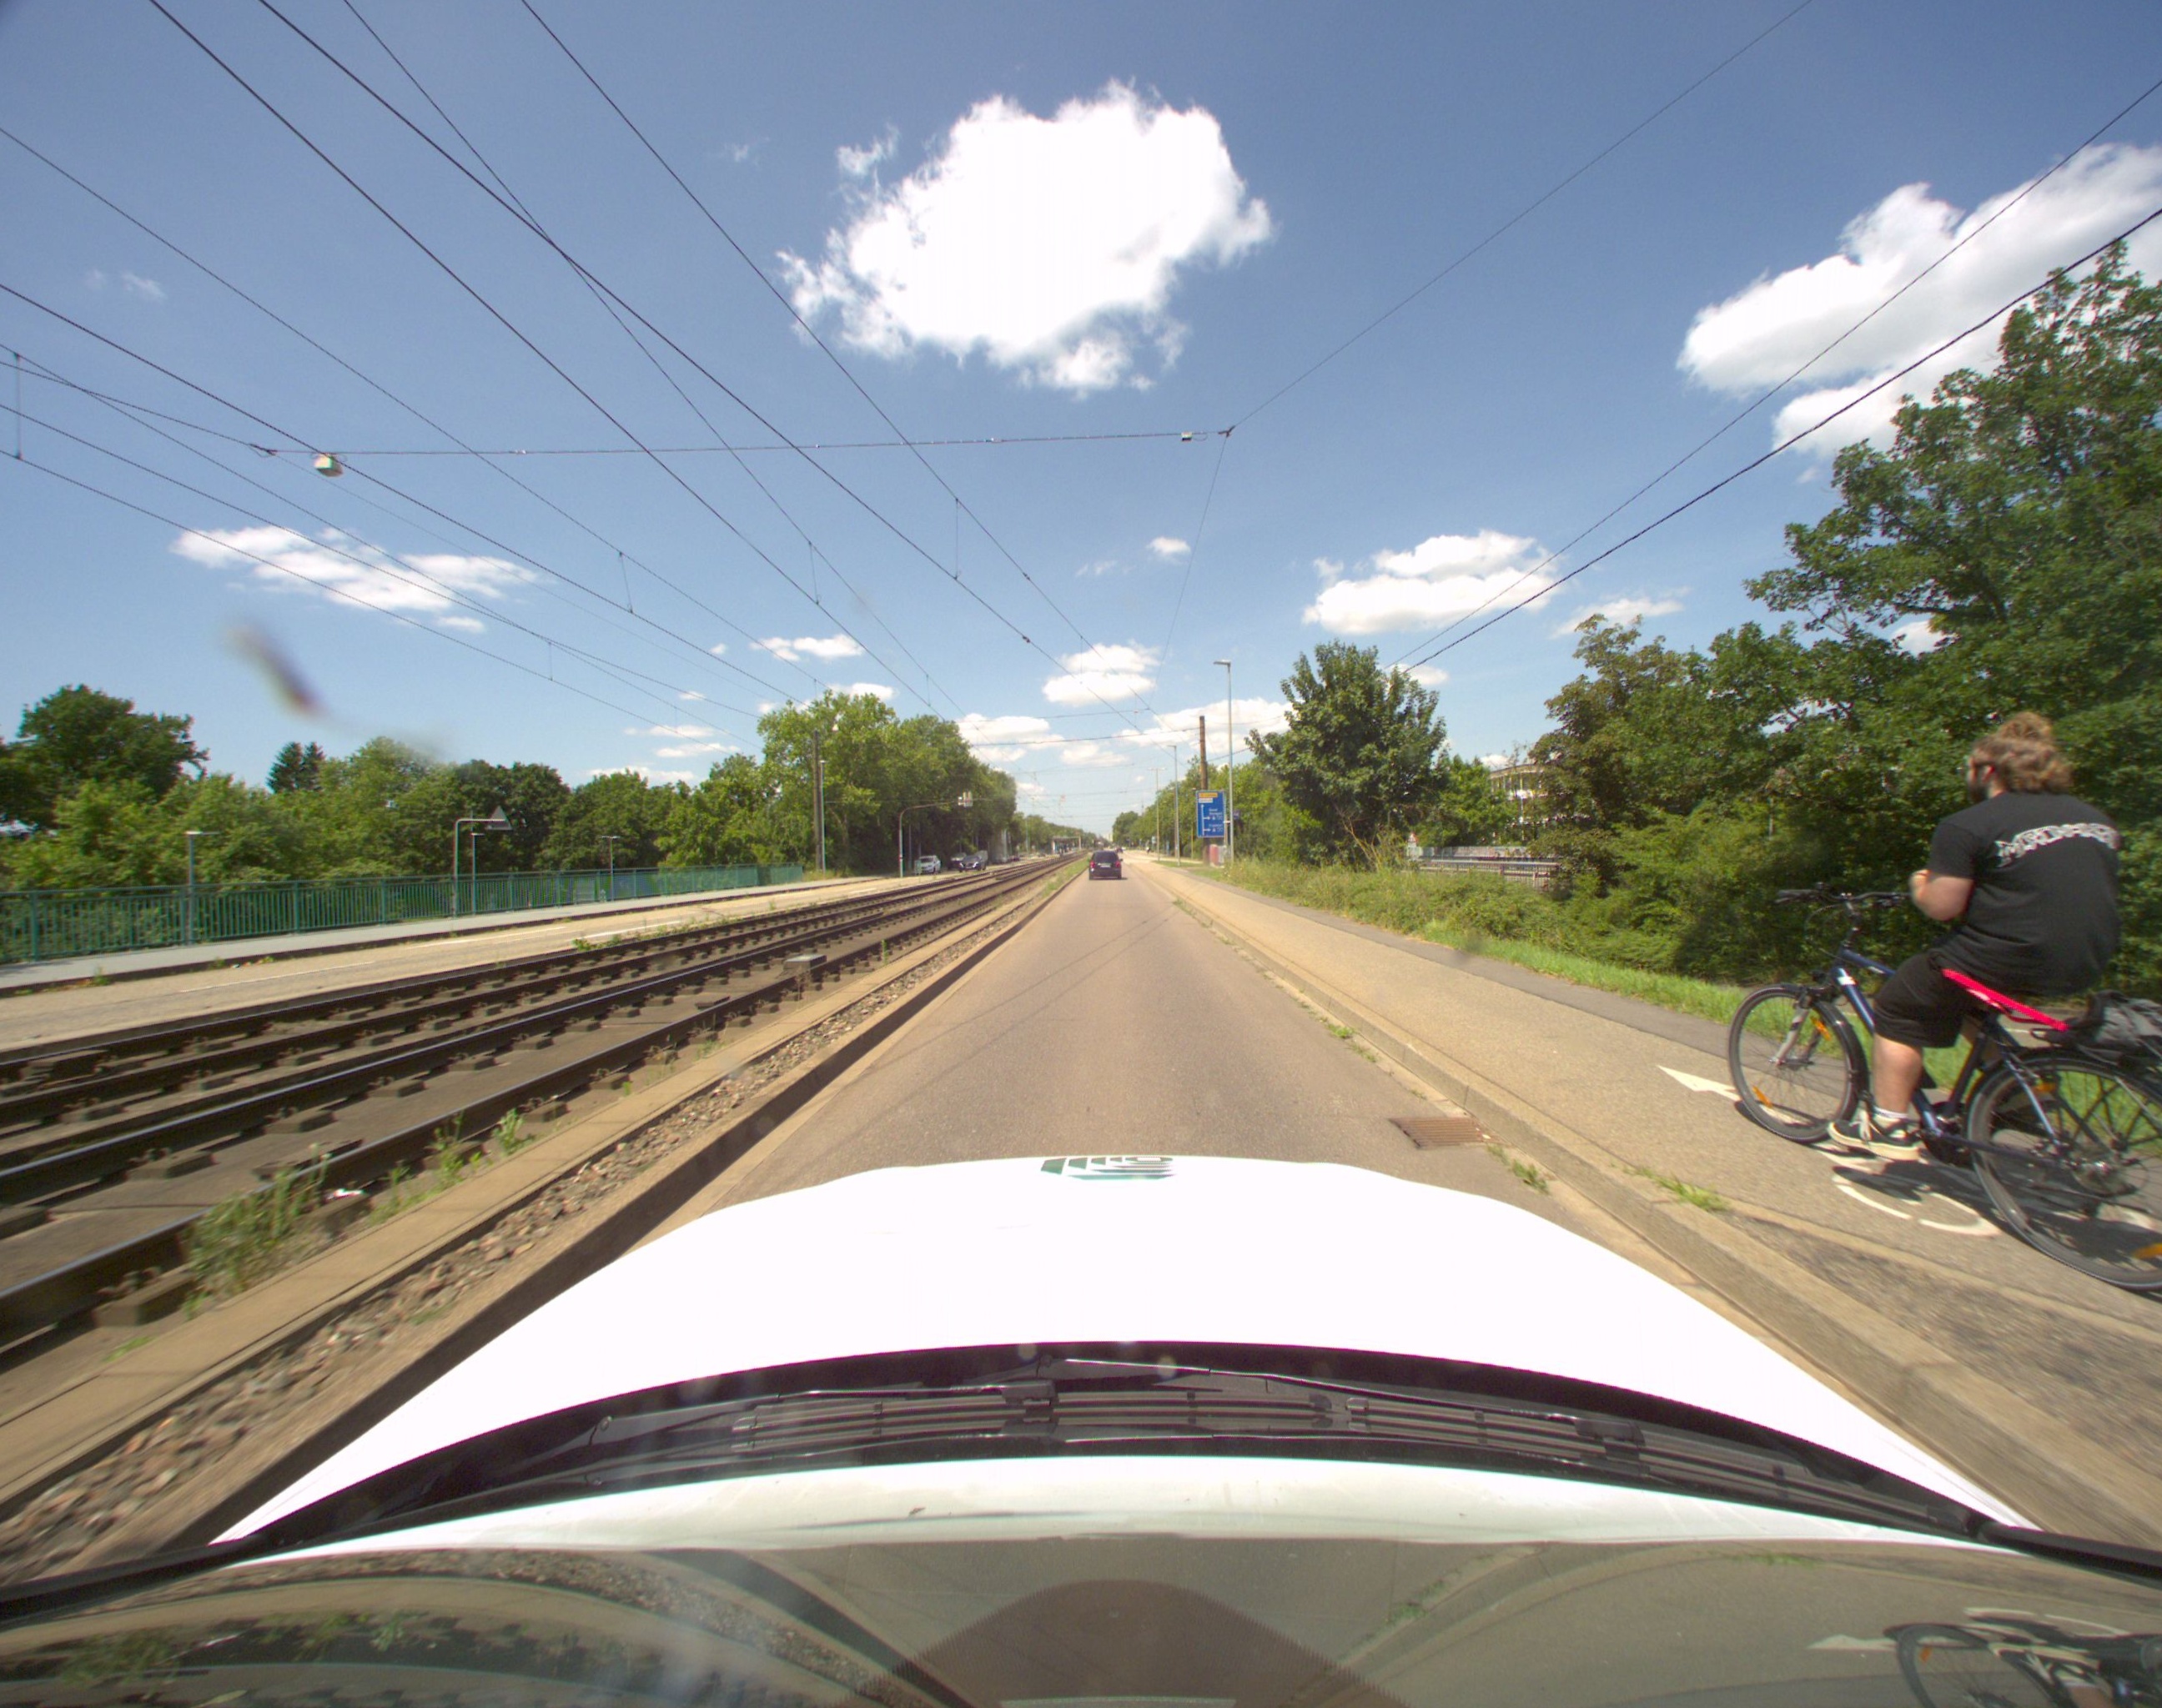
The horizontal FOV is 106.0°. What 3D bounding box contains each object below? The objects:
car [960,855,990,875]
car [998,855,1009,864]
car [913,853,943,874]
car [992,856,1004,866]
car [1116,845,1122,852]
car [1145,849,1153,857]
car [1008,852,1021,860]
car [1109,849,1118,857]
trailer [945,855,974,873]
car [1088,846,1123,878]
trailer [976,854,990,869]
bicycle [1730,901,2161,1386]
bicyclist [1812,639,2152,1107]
[{"bbox_3d":[-9.635,1.005,74.304,1.868,1.720,5.332,-1,0,1],"label":"car"},{"bbox_3d":[-12.557,0.897,131.698,1.429,1.451,3.740,-1,0,0],"label":"car"},{"bbox_3d":[-13.851,0.874,74.010,1.714,1.630,4.617,-4,1,1],"label":"car"},{"bbox_3d":[-12.698,1.039,125.366,1.429,1.451,3.921,-1,0,0],"label":"car"},{"bbox_3d":[11.276,-1.504,241.602,1.780,2.013,4.002,0,1,2],"label":"car"},{"bbox_3d":[16.933,-0.238,203.099,1.606,2.013,3.441,0,1,1],"label":"car"},{"bbox_3d":[-12.673,0.336,155.357,1.986,1.574,4.001,-1,0,1],"label":"car"},{"bbox_3d":[7.085,-0.212,178.377,1.877,1.639,4.003,2,1,3],"label":"car"},{"bbox_3d":[-13.325,1.098,89.697,2.455,1.889,5.956,-1,0,-3],"label":"trailer"},{"bbox_3d":[1.375,0.410,44.652,1.845,1.570,4.392,0,2,3],"label":"car"},{"bbox_3d":[-13.239,0.986,110.156,1.605,2.013,3.914,0,0,-1],"label":"trailer"},{"bbox_3d":[3.168,0.817,2.896,0.430,1.152,1.858,0,1,7],"label":"bicycle"},{"bbox_3d":[3.151,0.057,2.909,0.582,1.495,0.559,0,1,6],"label":"bicyclist"}]
